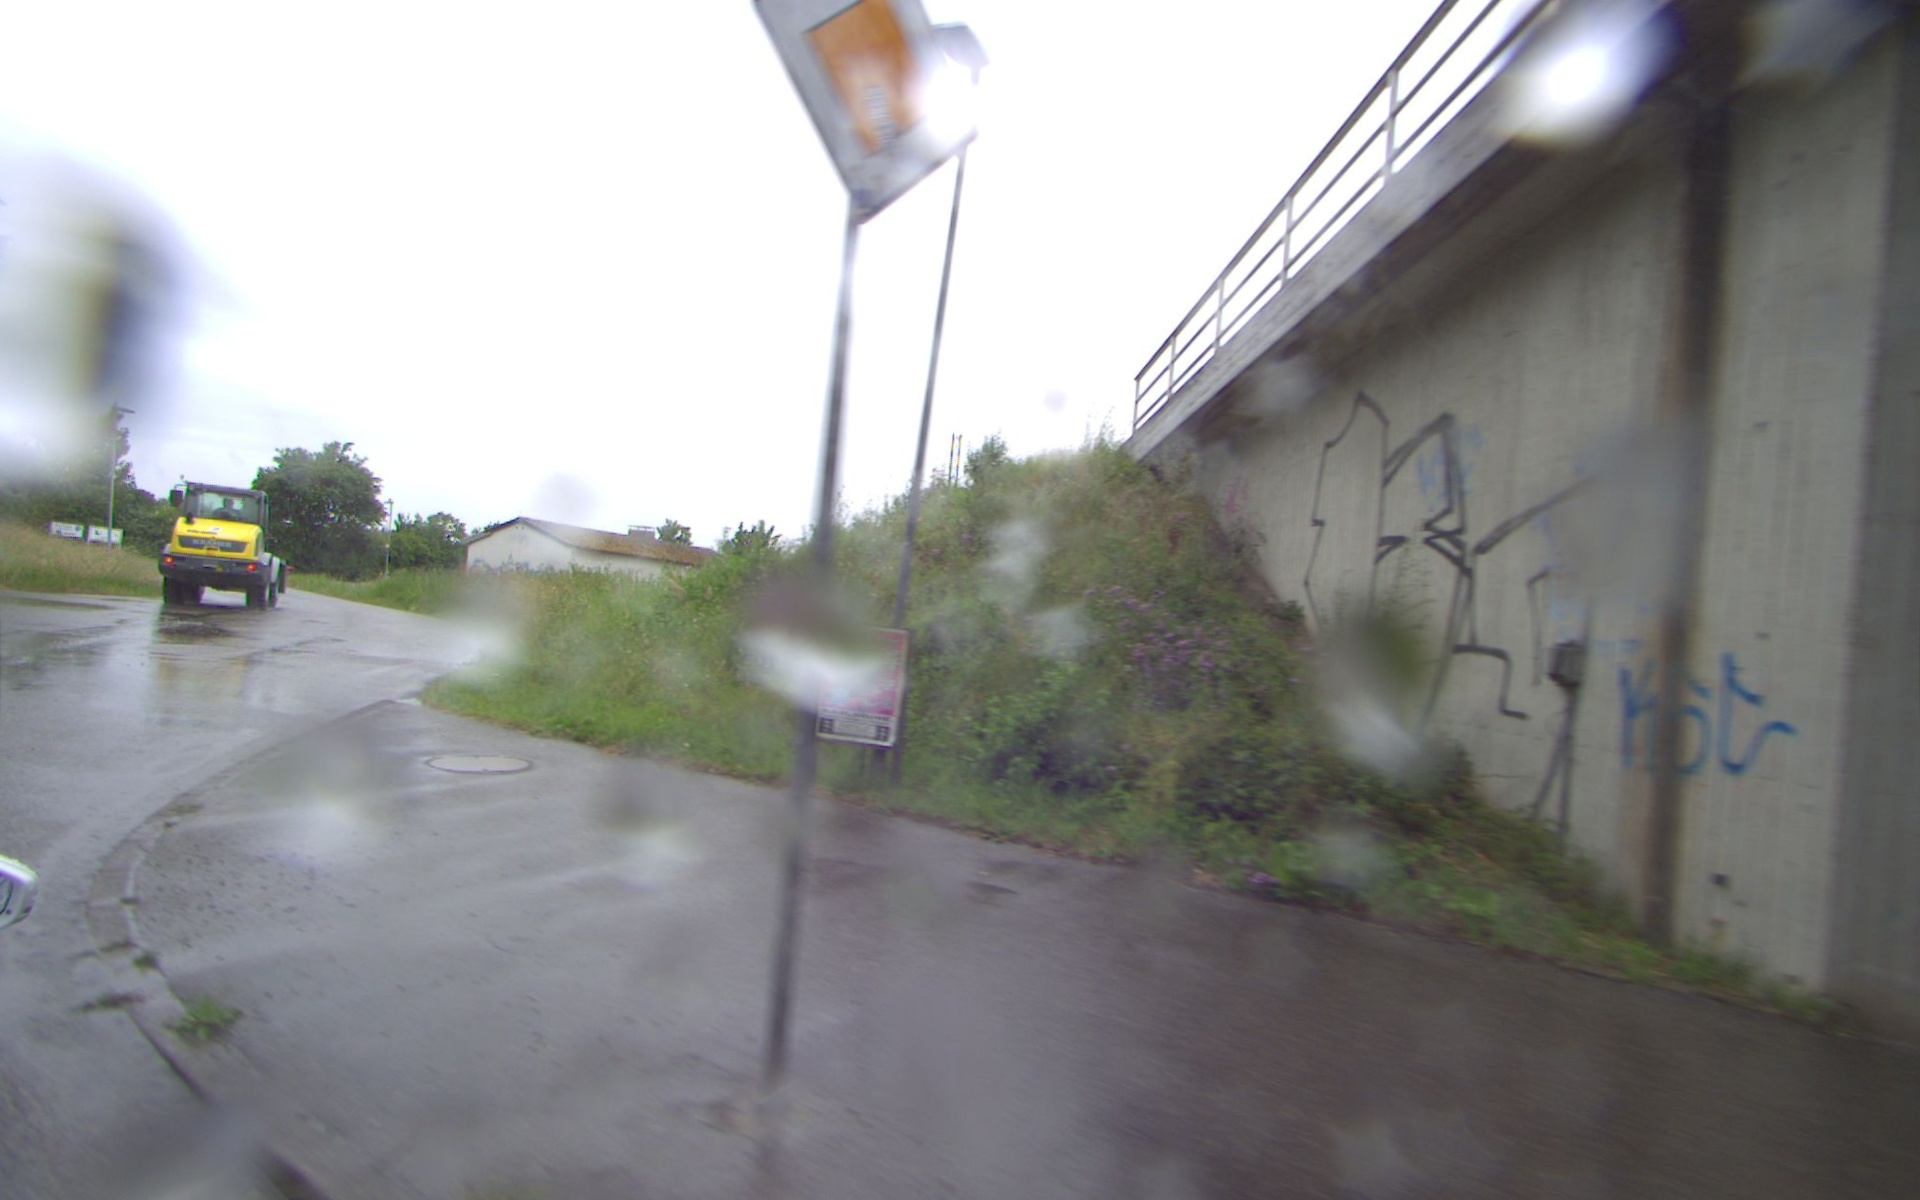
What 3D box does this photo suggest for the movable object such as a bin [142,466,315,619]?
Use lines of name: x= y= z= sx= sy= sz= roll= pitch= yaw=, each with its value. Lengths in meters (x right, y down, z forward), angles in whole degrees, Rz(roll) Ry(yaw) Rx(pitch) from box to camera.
movable object such as a bin: x=-16.316 y=-1.141 z=22.844 sx=2.230 sy=2.699 sz=6.579 roll=8 pitch=-3 yaw=-30
